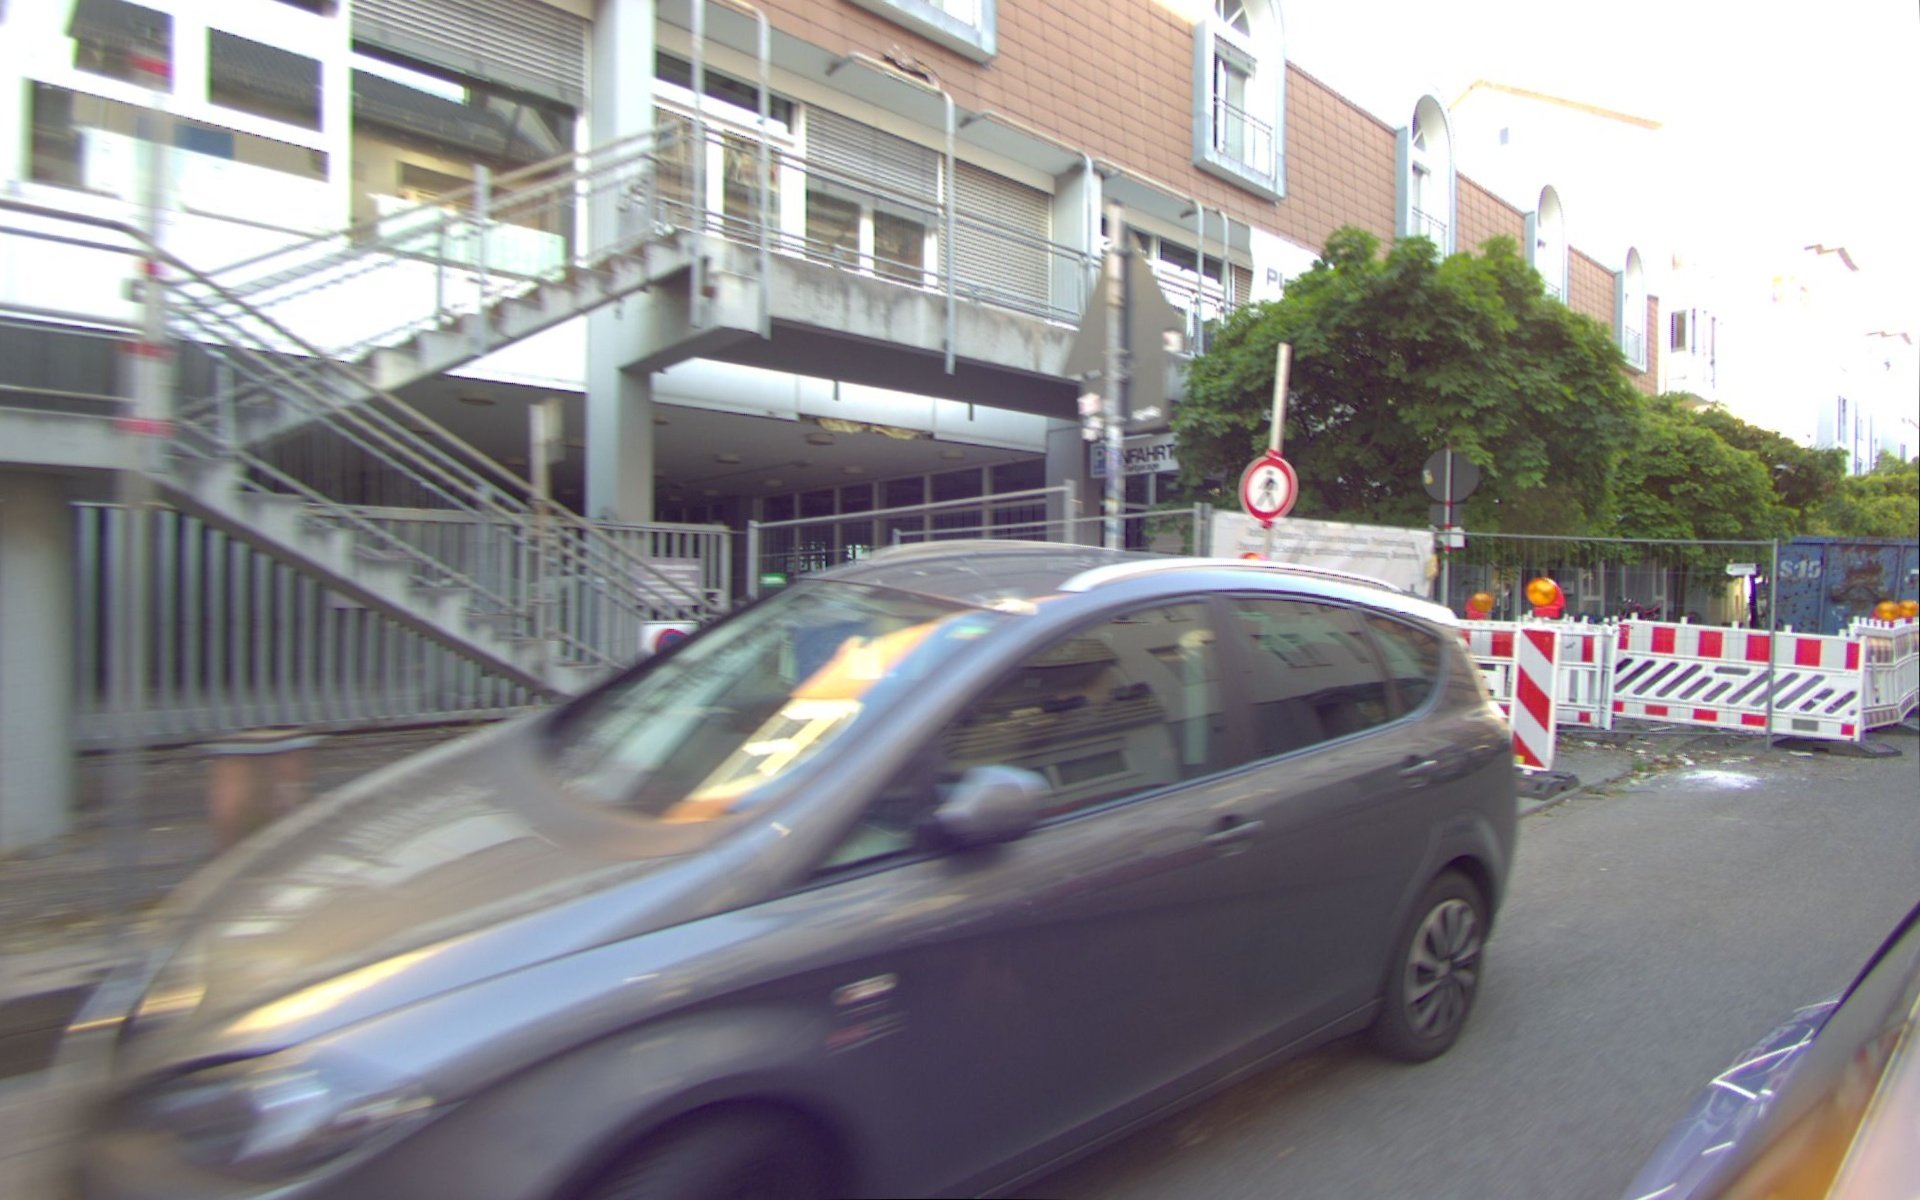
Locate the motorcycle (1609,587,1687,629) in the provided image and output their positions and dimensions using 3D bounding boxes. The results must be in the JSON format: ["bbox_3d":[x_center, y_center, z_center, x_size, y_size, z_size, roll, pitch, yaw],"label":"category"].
[{"bbox_3d":[21.910,0.229,32.211,2.406,1.237,0.874,-1,1,-23],"label":"motorcycle"}]

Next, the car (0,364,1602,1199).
[{"bbox_3d":[0.158,0.585,3.138,4.444,1.705,1.752,-1,0,-39],"label":"car"}]

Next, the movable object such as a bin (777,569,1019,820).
[{"bbox_3d":[-0.371,0.535,6.239,1.241,1.394,0.795,-2,-1,25],"label":"movable object such as a bin"}]

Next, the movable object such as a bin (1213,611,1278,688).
[{"bbox_3d":[3.860,0.659,13.679,0.556,0.988,0.701,-2,-1,45],"label":"movable object such as a bin"}]
